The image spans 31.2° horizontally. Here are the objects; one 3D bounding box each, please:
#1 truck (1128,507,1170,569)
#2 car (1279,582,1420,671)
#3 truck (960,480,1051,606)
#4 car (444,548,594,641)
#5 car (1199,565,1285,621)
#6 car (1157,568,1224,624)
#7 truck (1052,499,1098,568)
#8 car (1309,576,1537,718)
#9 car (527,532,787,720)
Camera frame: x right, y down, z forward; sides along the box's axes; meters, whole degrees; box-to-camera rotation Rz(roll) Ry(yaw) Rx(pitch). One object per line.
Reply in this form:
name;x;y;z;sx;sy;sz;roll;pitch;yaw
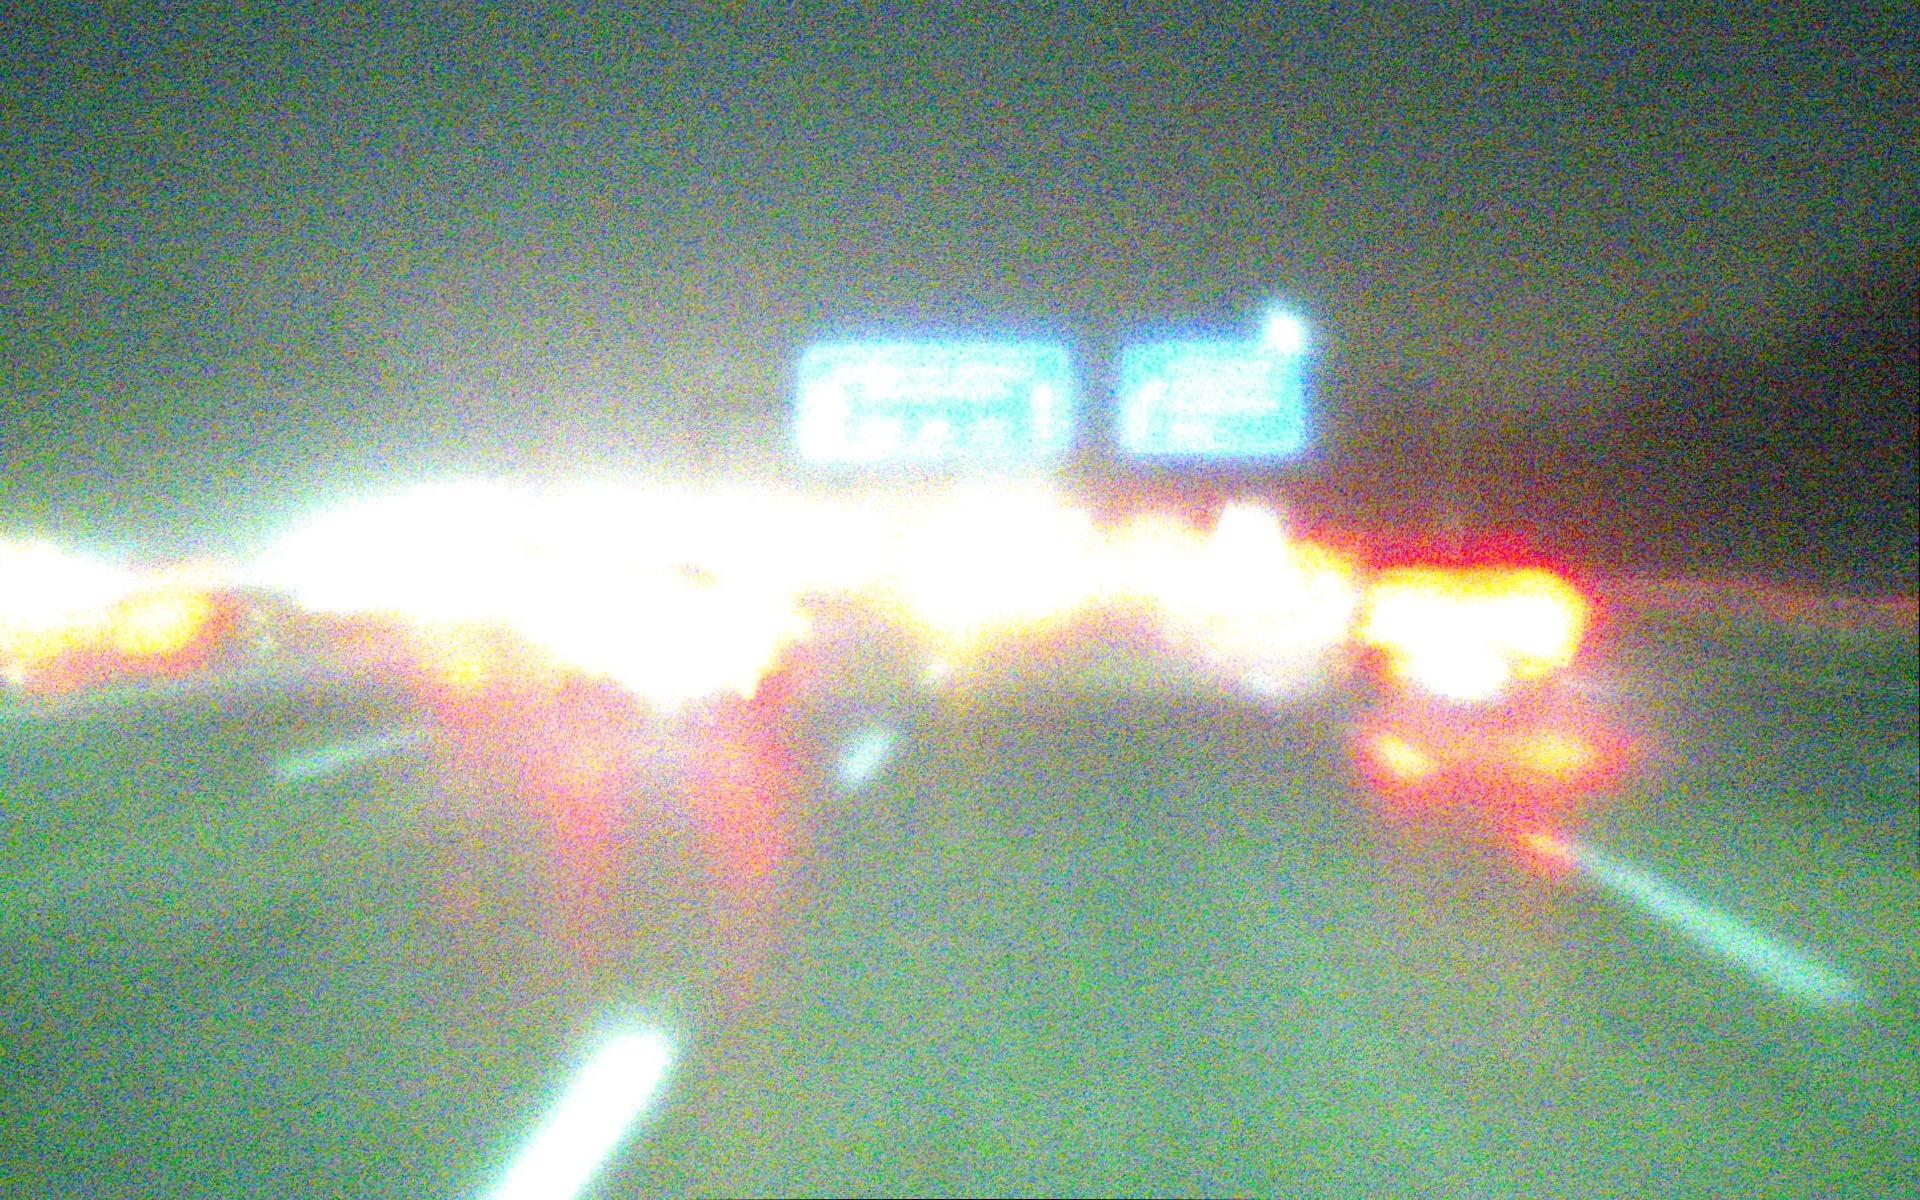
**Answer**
truck;9.935;-3.240;180.979;1.994;3.032;6.464;-2;0;3
car;5.746;0.375;50.985;1.580;1.242;3.069;1;0;-3
truck;1.213;-1.402;88.330;1.994;3.032;6.464;-2;0;3
car;-6.338;-0.072;49.749;1.662;1.232;3.761;-2;0;0
car;6.530;-0.167;79.845;1.580;1.242;3.069;1;0;-3
car;6.819;-0.134;102.074;1.863;1.612;4.000;1;0;3
truck;5.417;-3.104;161.370;1.994;3.032;6.464;-2;0;3
car;4.311;0.414;32.386;1.580;1.242;3.069;1;0;-3
car;-2.539;0.169;29.637;1.802;1.482;4.000;1;1;1
